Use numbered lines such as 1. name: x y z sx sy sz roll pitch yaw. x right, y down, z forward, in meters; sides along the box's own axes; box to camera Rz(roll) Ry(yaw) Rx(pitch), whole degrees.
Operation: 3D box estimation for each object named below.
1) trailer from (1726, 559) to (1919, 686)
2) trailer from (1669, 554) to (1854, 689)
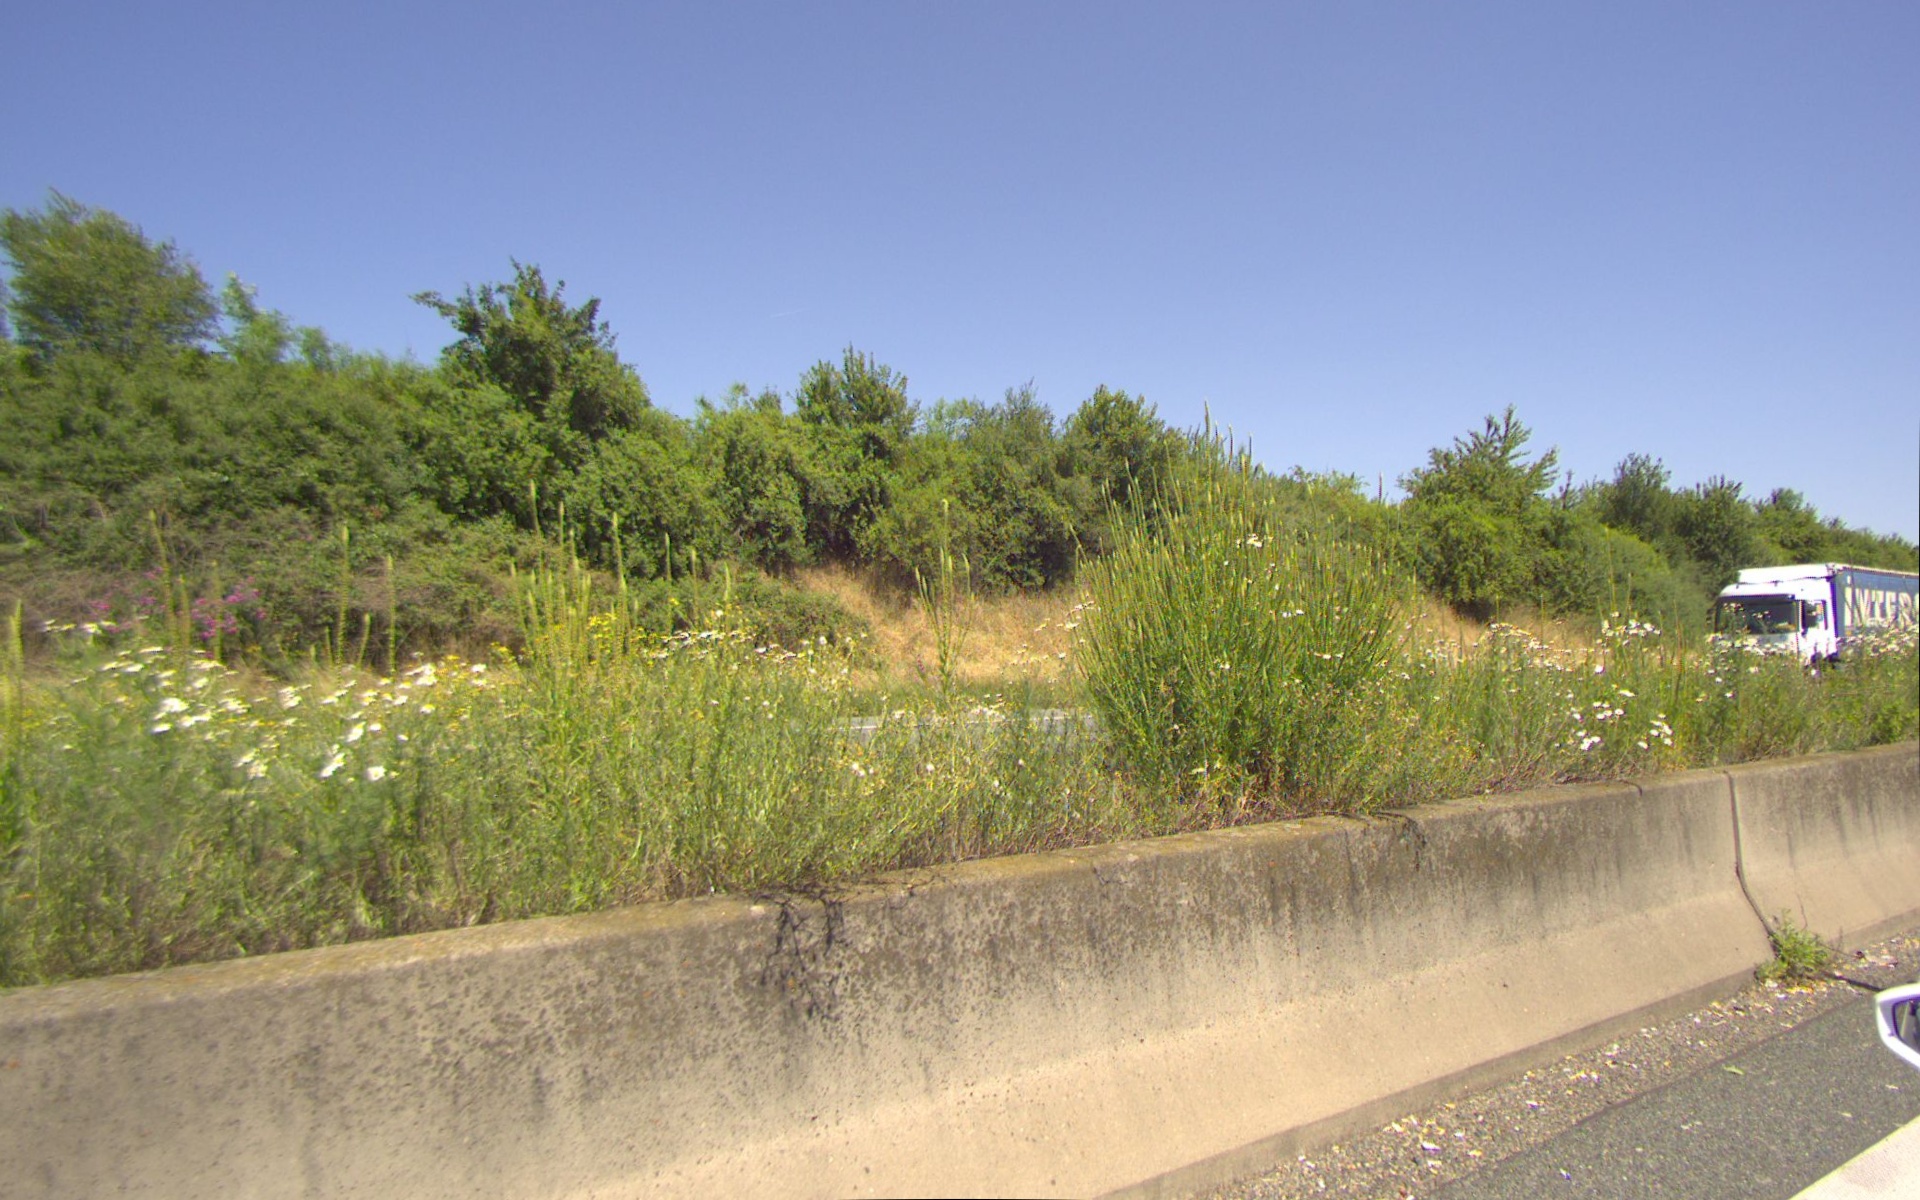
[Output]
1. trailer: 33.326 0.938 37.188 13.436 4.110 2.947 1 -3 -31
2. trailer: 26.426 0.770 33.118 5.370 4.110 2.948 1 -3 -30
